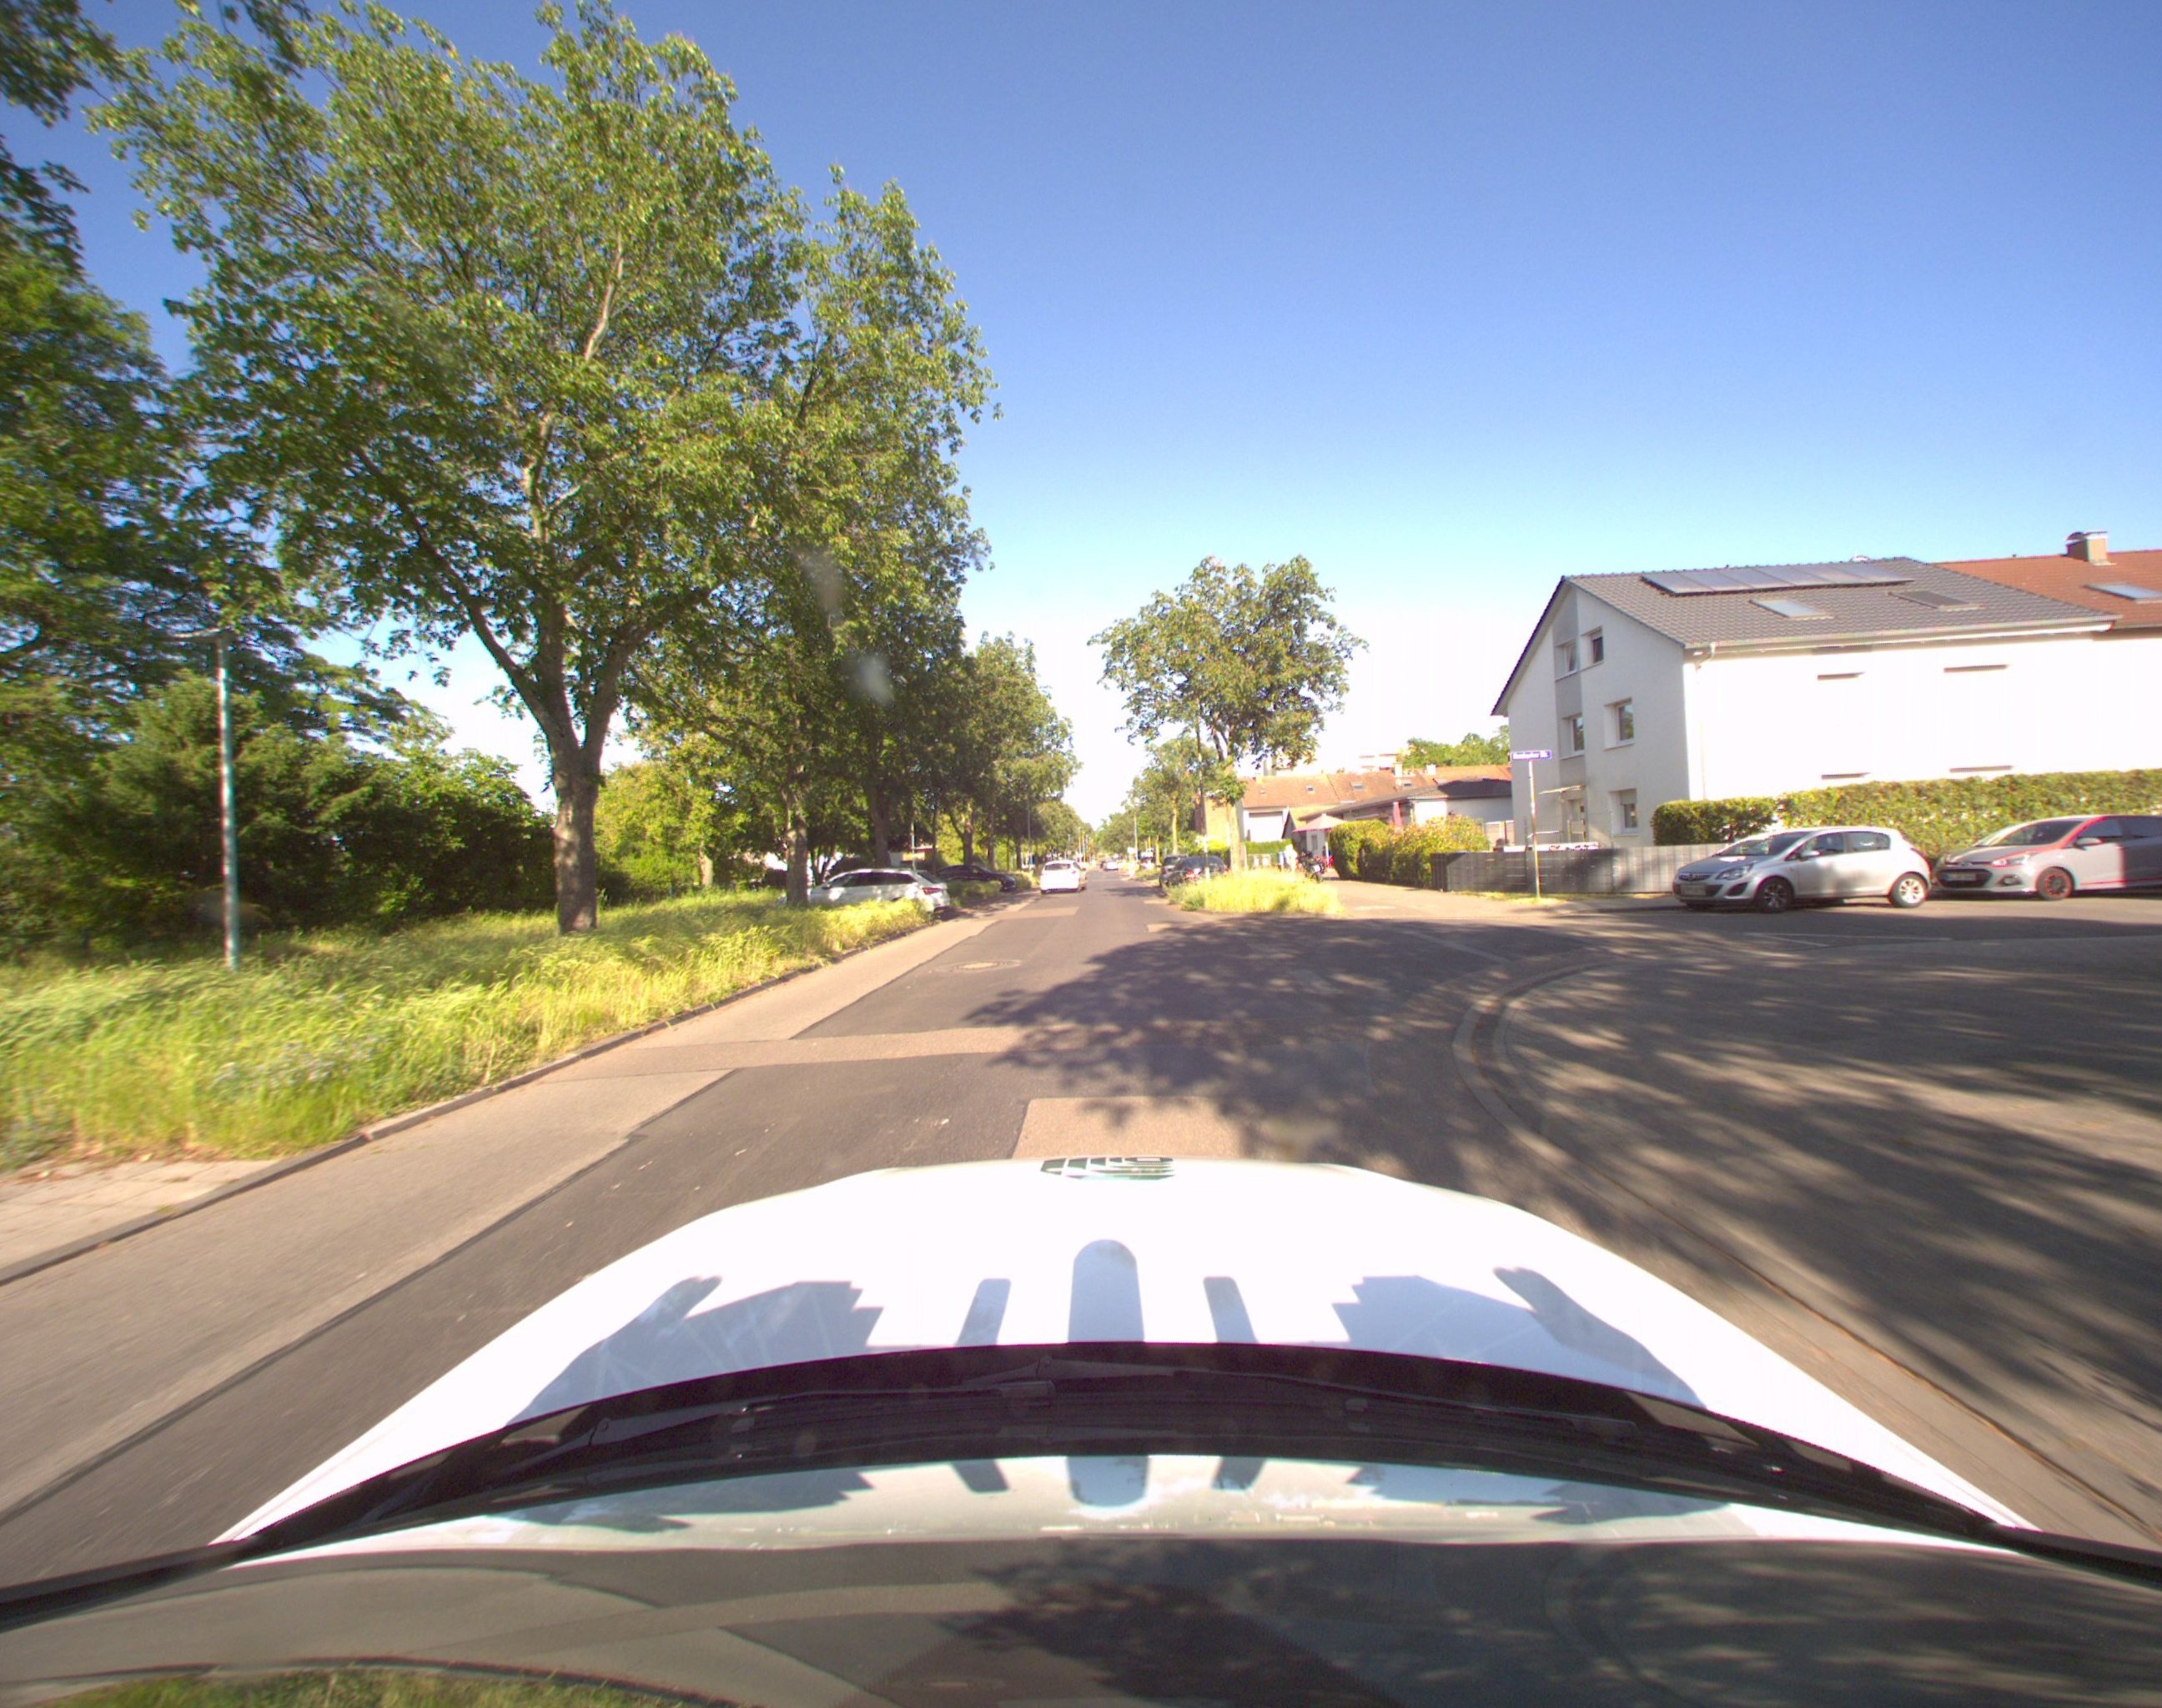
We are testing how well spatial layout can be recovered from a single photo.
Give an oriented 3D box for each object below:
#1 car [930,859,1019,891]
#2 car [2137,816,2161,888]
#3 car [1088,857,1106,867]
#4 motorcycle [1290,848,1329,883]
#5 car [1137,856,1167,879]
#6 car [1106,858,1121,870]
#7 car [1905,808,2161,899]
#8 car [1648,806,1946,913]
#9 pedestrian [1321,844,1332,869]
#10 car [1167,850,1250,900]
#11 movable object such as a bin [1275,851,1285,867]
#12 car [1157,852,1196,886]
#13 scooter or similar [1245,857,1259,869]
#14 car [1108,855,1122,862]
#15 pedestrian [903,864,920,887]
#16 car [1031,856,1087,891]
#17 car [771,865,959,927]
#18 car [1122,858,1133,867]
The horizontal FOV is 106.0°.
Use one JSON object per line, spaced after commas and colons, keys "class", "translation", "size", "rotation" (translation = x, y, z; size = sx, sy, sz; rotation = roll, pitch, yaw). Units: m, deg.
{"class": "car", "translation": [-5.521, 1.093, 42.643], "size": [4.352, 1.531, 1.807], "rotation": [-1, -1, 0]}
{"class": "car", "translation": [22.207, -0.195, 14.932], "size": [3.809, 1.322, 1.422], "rotation": [-5, 1, 0]}
{"class": "car", "translation": [3.424, 1.633, 175.334], "size": [3.974, 2.014, 2.000], "rotation": [-1, -2, 0]}
{"class": "motorcycle", "translation": [8.677, 0.434, 31.057], "size": [0.815, 1.227, 2.352], "rotation": [-4, 0, 1]}
{"class": "car", "translation": [5.833, 1.106, 67.644], "size": [1.988, 1.728, 3.998], "rotation": [-4, -1, -1]}
{"class": "car", "translation": [4.254, 1.289, 107.614], "size": [1.986, 1.508, 3.659], "rotation": [1, -1, 2]}
{"class": "car", "translation": [17.831, -0.035, 14.841], "size": [3.735, 1.444, 1.849], "rotation": [-3, 0, 0]}
{"class": "car", "translation": [12.892, 0.083, 14.816], "size": [3.980, 1.640, 1.773], "rotation": [-3, 0, -5]}
{"class": "pedestrian", "translation": [13.815, 0.135, 45.855], "size": [0.437, 1.385, 0.640], "rotation": [-1, -1, 7]}
{"class": "car", "translation": [4.411, 0.728, 28.866], "size": [1.990, 1.622, 4.375], "rotation": [1, -1, -4]}
{"class": "movable object such as a bin", "translation": [14.085, 0.358, 57.627], "size": [0.491, 1.032, 0.747], "rotation": [-5, -1, 2]}
{"class": "car", "translation": [4.747, 0.733, 40.822], "size": [1.604, 1.622, 4.384], "rotation": [1, -1, 2]}
{"class": "scooter or similar", "translation": [11.700, 0.618, 55.760], "size": [0.368, 0.858, 1.406], "rotation": [-2, 0, -11]}
{"class": "car", "translation": [9.505, 1.343, 228.389], "size": [3.975, 1.750, 1.999], "rotation": [-2, -1, -1]}
{"class": "pedestrian", "translation": [-13.918, 1.766, 66.906], "size": [1.227, 1.827, 1.543], "rotation": [-1, -1, -15]}
{"class": "car", "translation": [-0.951, 0.887, 38.155], "size": [1.983, 1.455, 4.232], "rotation": [-2, 0, 6]}
{"class": "car", "translation": [-6.001, 1.147, 23.019], "size": [4.652, 1.503, 2.002], "rotation": [-2, 0, 3]}
{"class": "car", "translation": [7.552, 1.394, 132.768], "size": [1.726, 1.508, 3.659], "rotation": [1, -1, 2]}
